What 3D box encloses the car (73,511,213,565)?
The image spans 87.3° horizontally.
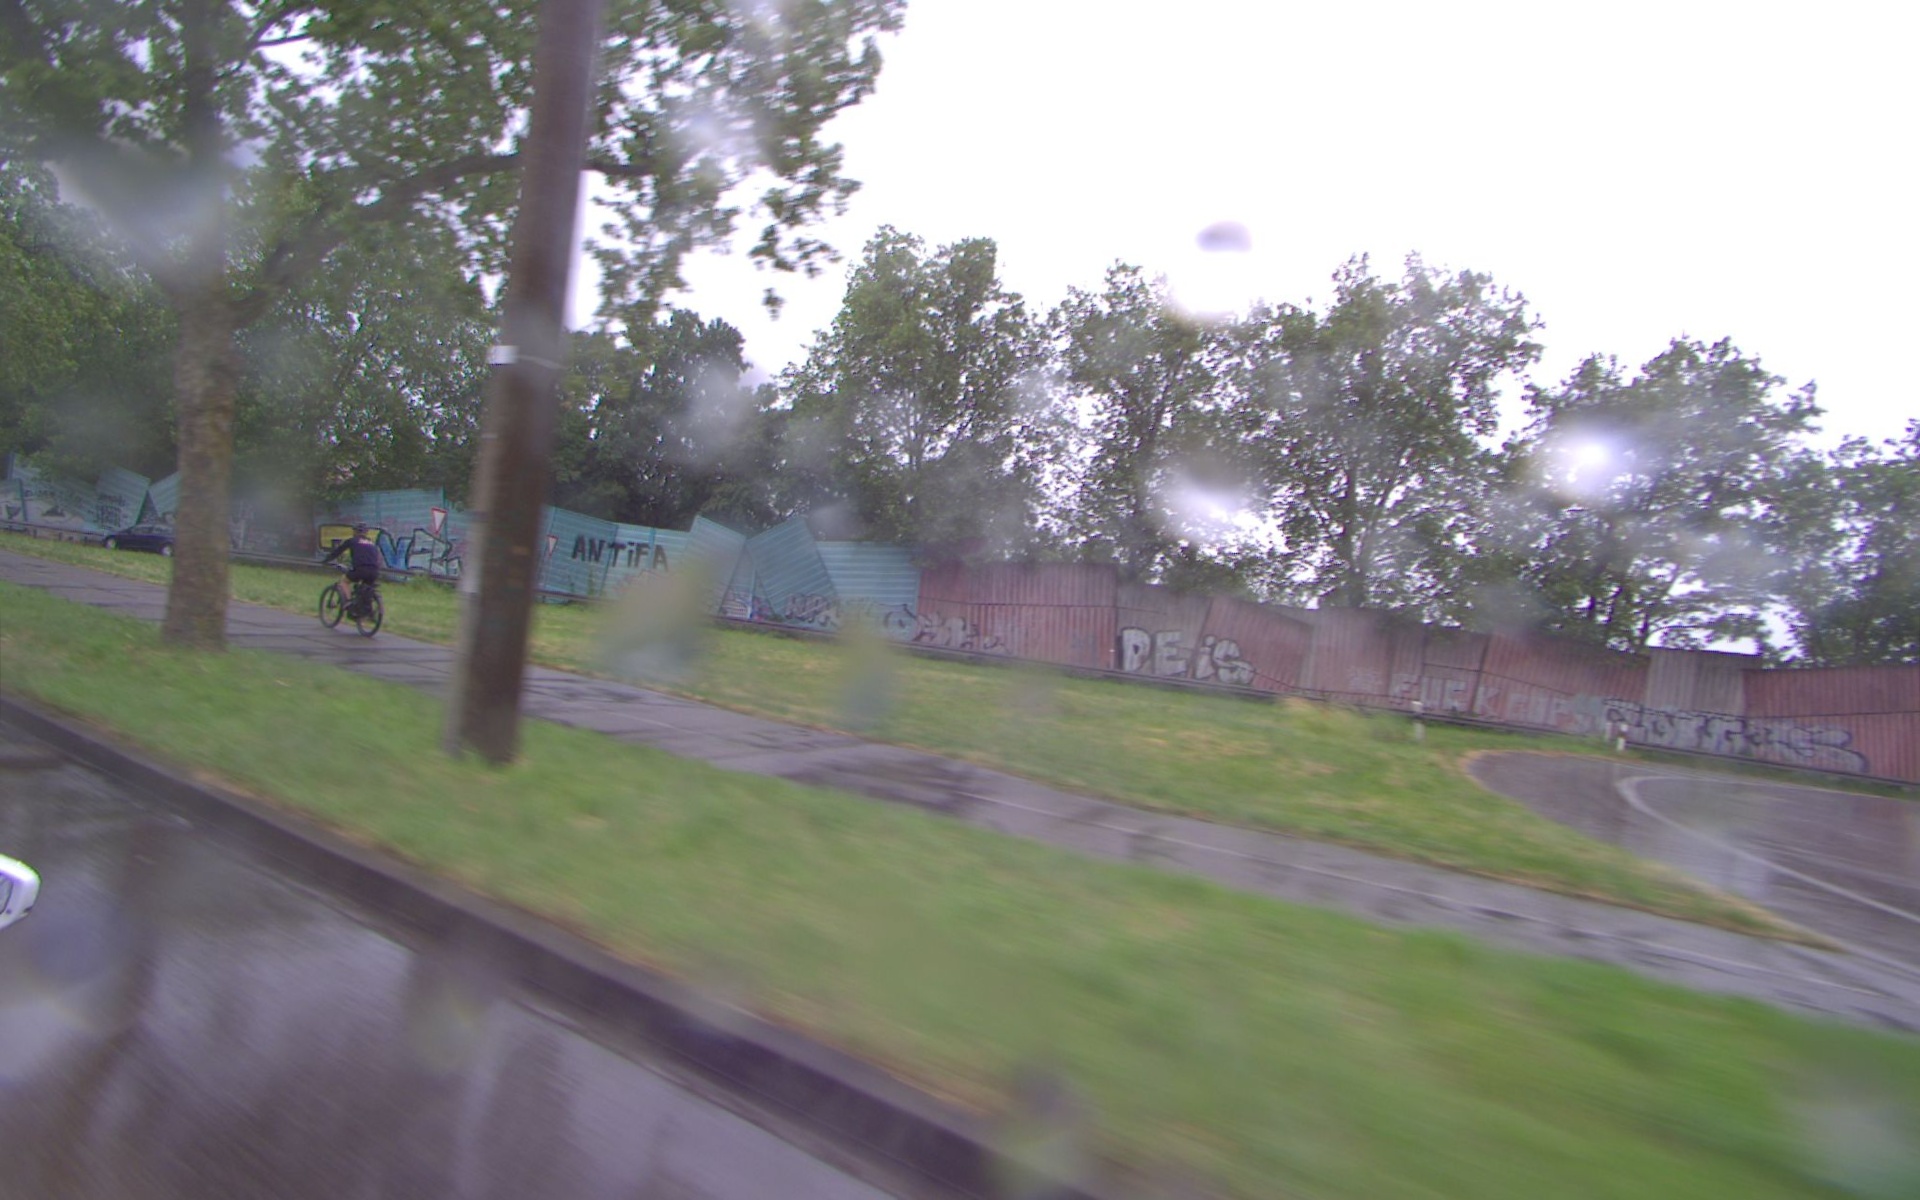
[{"bbox_3d":[-34.439,-2.605,42.469,4.431,1.555,1.870,7,-1,5],"label":"car"}]
